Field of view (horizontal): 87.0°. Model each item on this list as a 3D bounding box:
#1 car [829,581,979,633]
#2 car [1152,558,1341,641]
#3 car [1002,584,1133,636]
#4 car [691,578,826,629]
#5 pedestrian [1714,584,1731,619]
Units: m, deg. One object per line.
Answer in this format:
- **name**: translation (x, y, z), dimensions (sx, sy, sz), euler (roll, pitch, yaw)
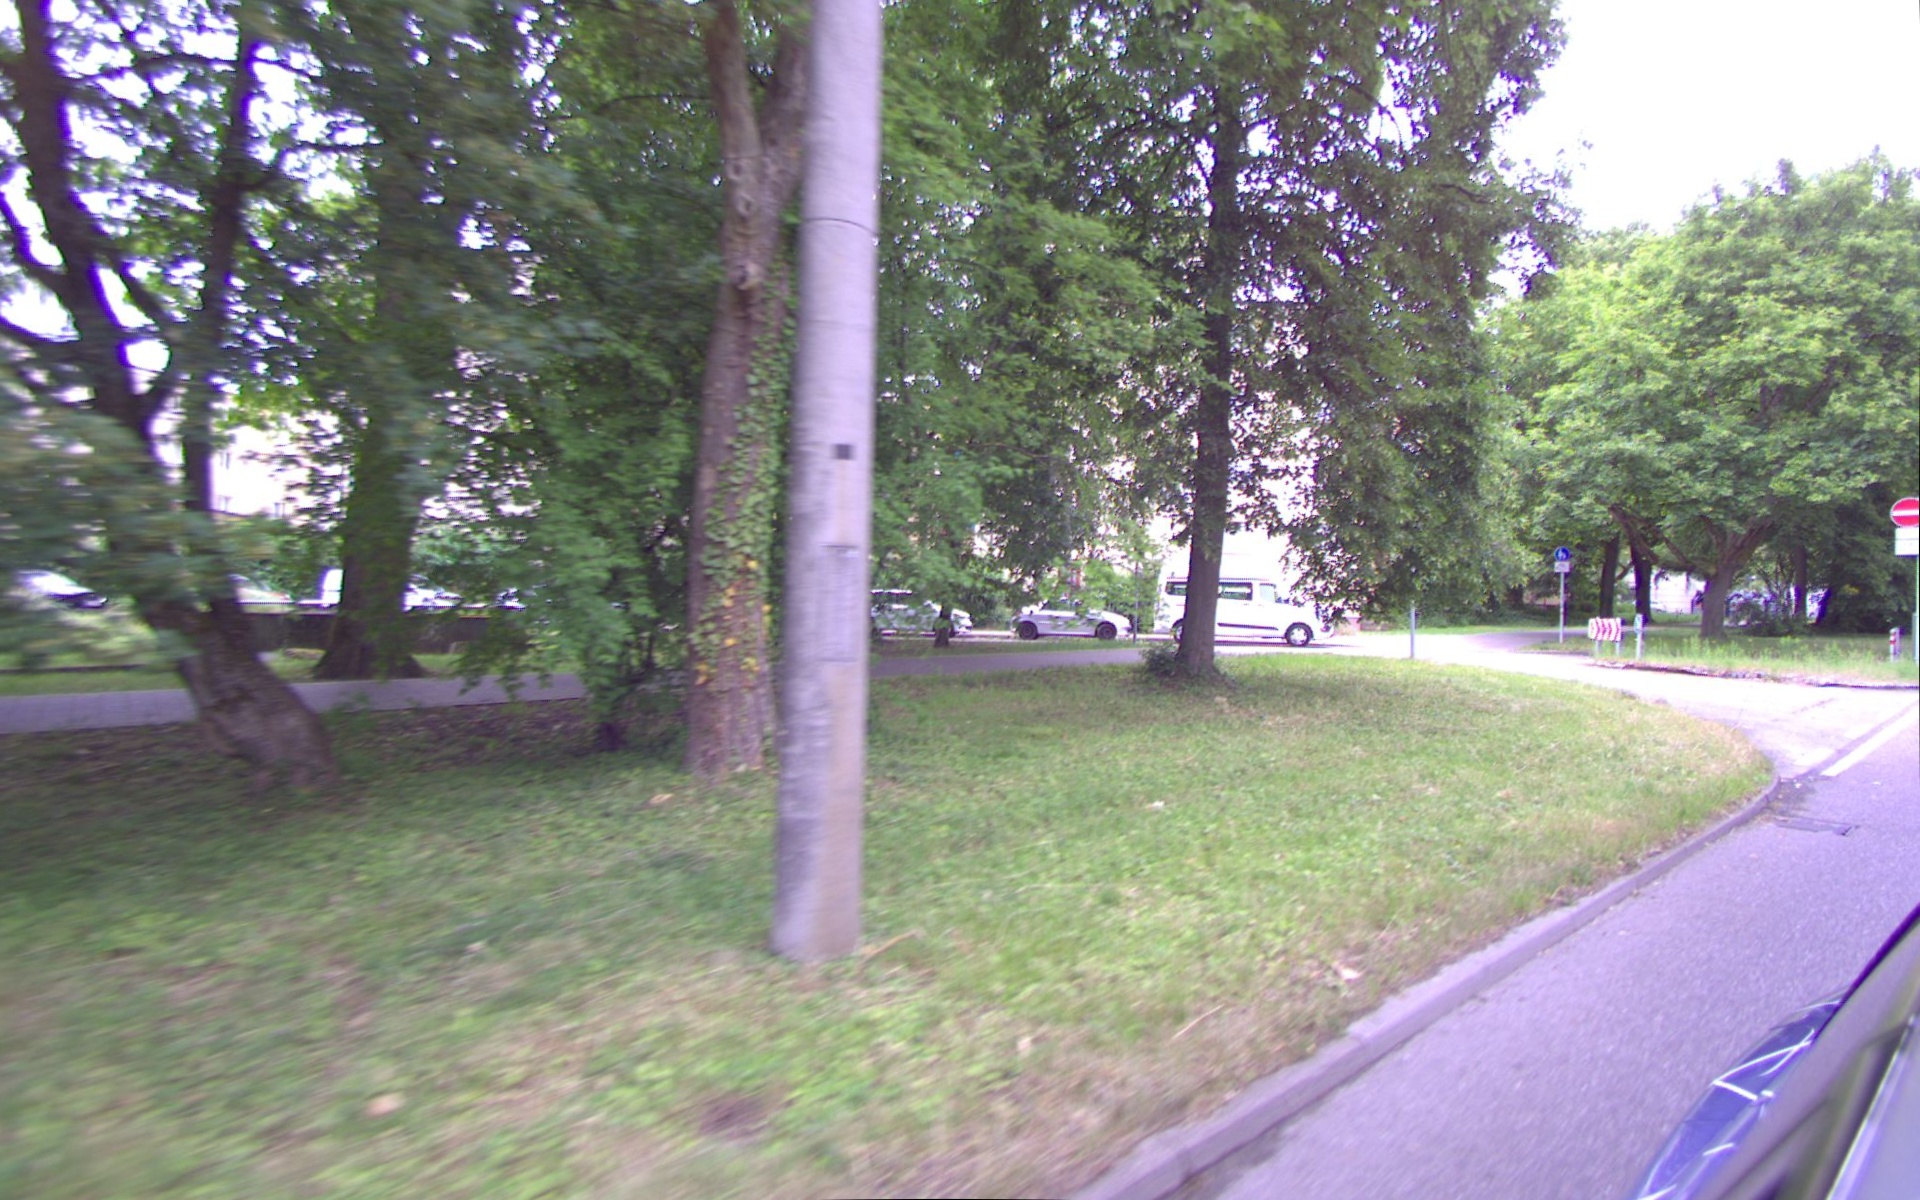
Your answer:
- **car**: translation (-1.711, 0.194, 31.992), dimensions (4.521, 1.529, 1.798), euler (1, 0, 5)
- **car**: translation (8.524, -0.048, 30.381), dimensions (5.253, 2.328, 2.280), euler (1, 0, 17)
- **car**: translation (3.375, 0.291, 31.443), dimensions (3.936, 1.529, 1.794), euler (1, 0, 10)
- **car**: translation (-6.385, 0.106, 32.407), dimensions (3.926, 1.529, 1.799), euler (1, 0, 2)
- **pedestrian**: translation (36.662, 0.079, 48.658), dimensions (0.647, 1.682, 0.641), euler (1, 0, 38)
